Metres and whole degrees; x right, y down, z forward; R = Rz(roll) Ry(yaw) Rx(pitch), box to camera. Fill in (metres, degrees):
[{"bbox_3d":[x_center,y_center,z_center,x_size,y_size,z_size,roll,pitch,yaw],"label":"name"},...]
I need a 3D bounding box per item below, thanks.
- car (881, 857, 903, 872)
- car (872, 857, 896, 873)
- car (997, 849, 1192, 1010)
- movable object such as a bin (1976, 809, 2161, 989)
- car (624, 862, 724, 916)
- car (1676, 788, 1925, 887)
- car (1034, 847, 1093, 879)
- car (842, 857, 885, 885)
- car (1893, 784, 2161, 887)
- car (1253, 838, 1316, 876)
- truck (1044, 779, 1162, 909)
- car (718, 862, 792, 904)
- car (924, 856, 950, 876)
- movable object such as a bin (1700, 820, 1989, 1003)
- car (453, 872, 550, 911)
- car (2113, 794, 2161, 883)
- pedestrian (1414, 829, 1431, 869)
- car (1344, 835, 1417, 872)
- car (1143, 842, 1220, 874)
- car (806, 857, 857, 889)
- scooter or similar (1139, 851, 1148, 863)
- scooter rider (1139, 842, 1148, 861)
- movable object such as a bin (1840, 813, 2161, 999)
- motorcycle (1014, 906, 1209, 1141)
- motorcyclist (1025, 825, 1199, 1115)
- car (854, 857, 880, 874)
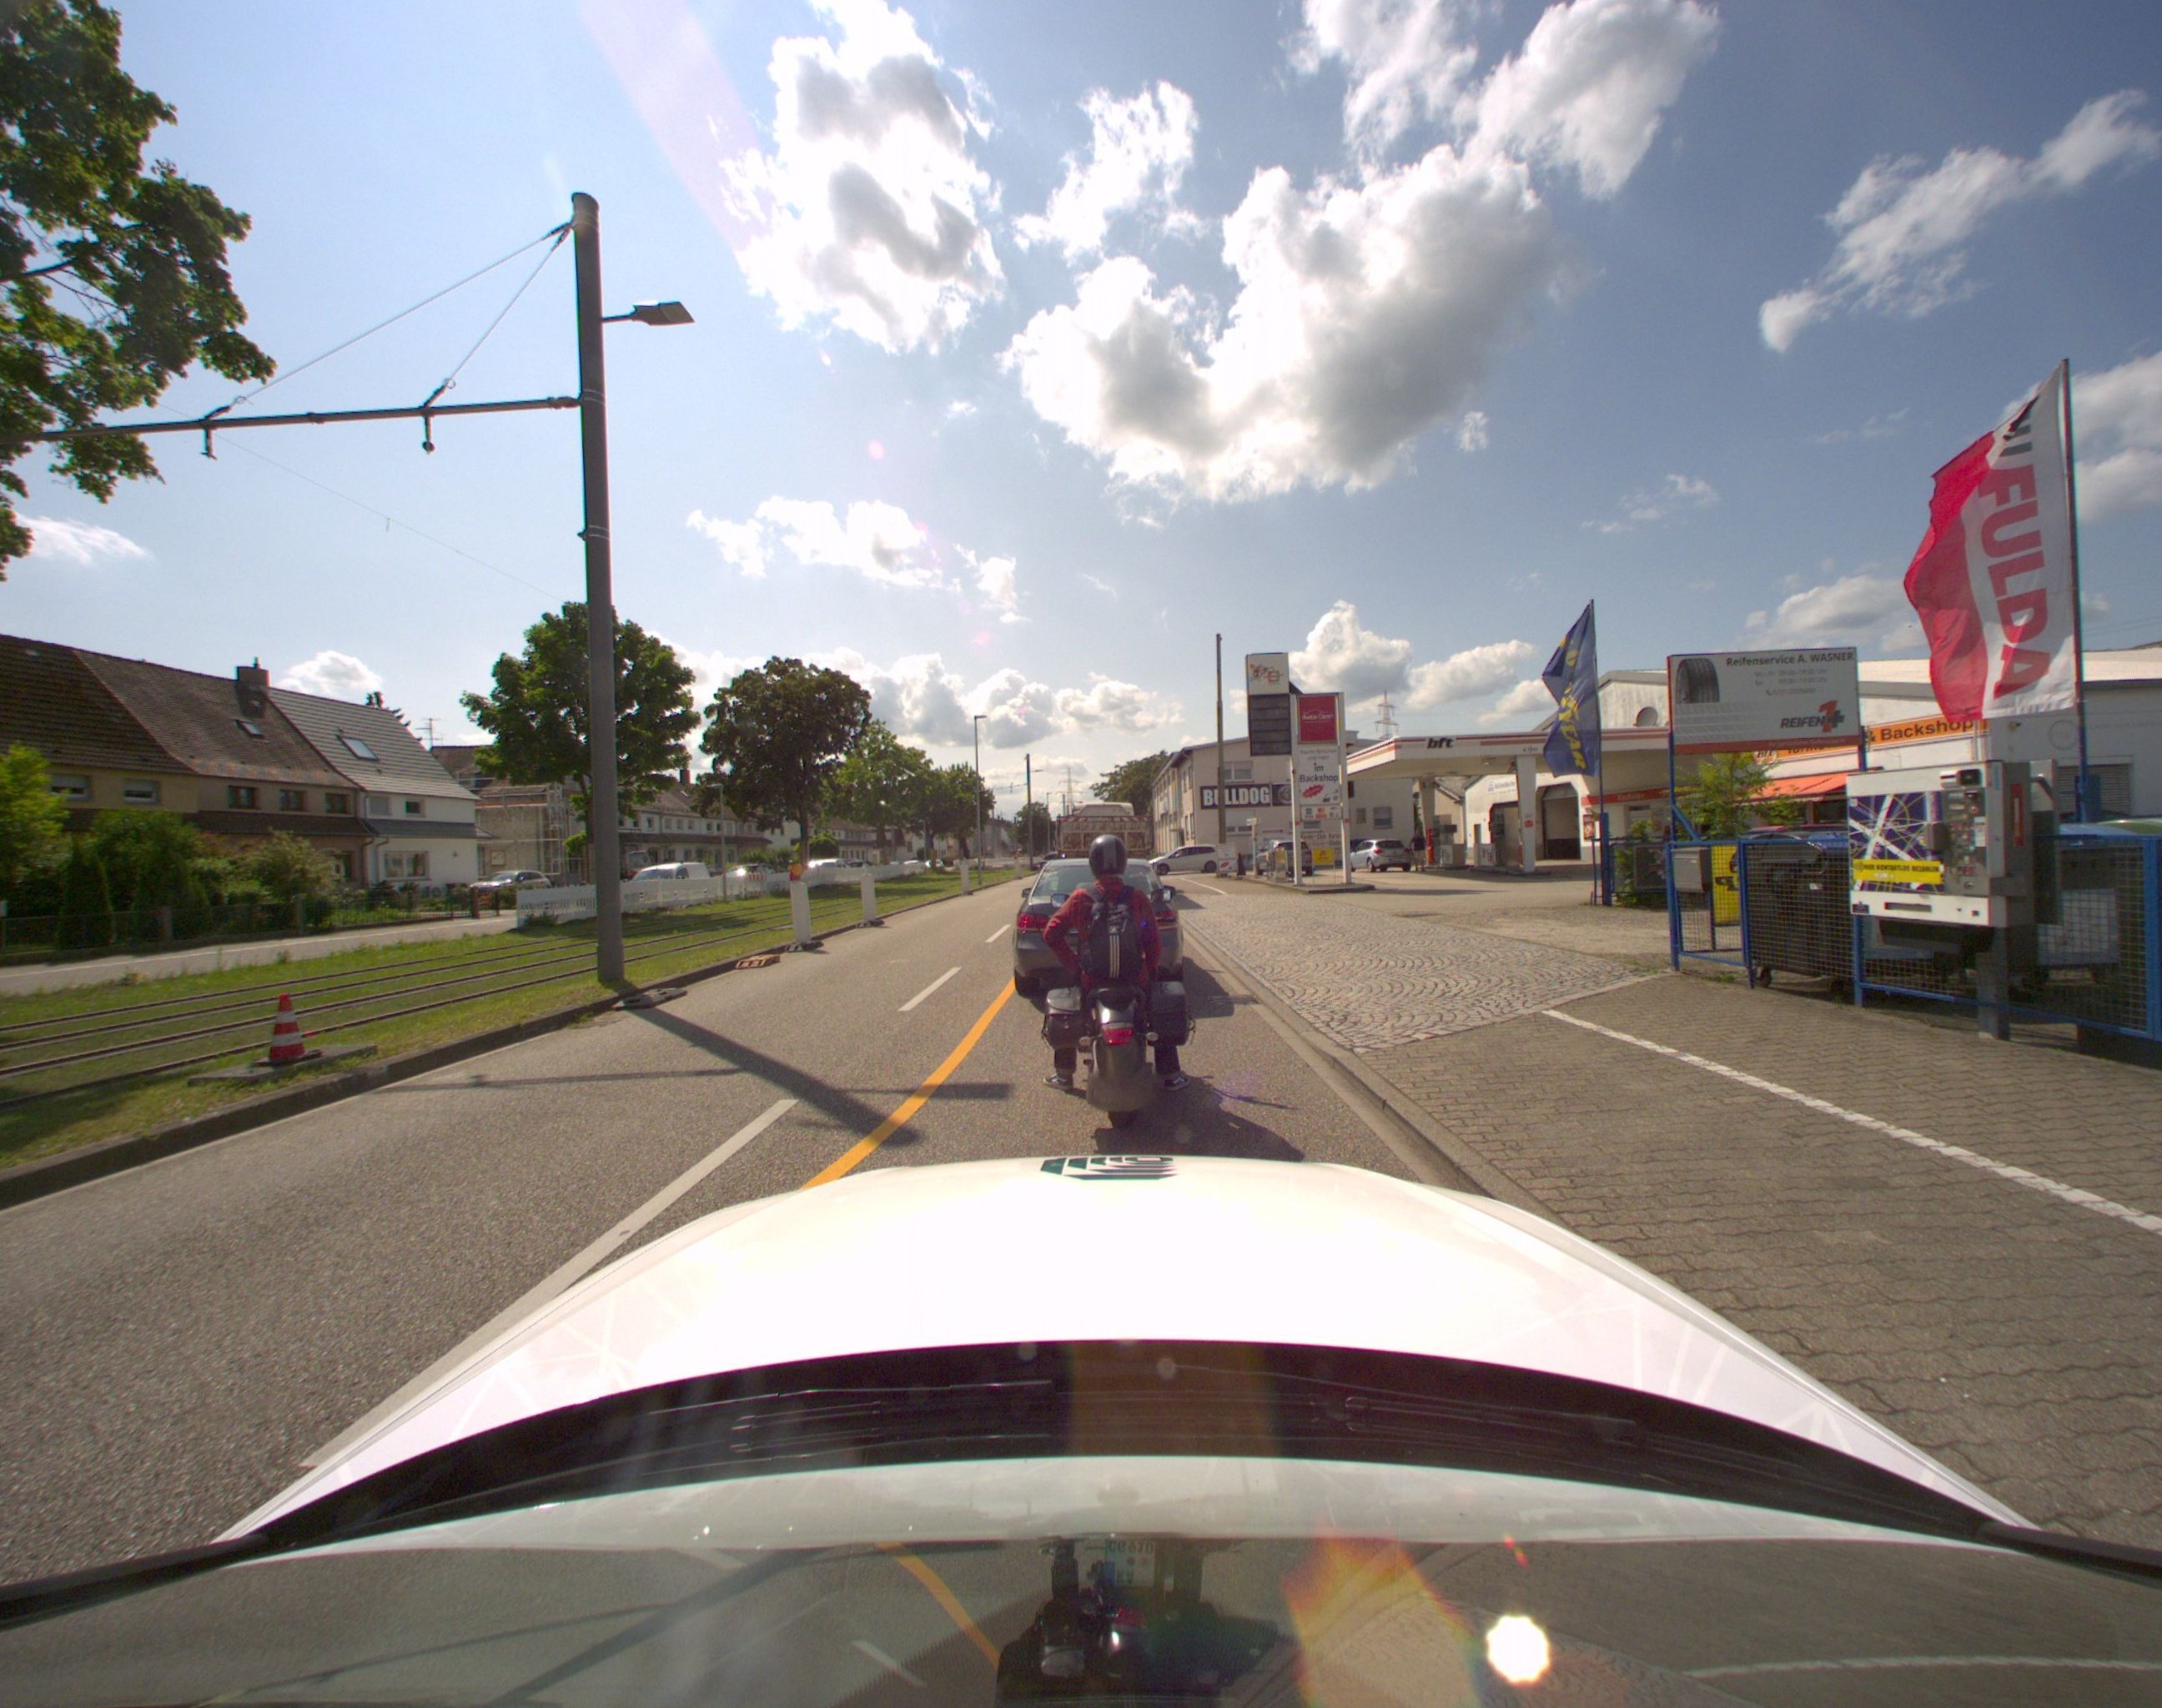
[{"bbox_3d":[-24.374,1.343,105.377,1.692,1.739,4.064,-2,0,2],"label":"car"},{"bbox_3d":[-24.045,1.335,99.354,1.692,1.739,4.064,-2,0,2],"label":"car"},{"bbox_3d":[0.158,0.722,9.899,1.826,1.479,4.009,-3,0,1],"label":"car"},{"bbox_3d":[9.447,0.335,7.200,1.425,1.454,1.455,-2,0,0],"label":"movable object such as a bin"},{"bbox_3d":[-15.418,1.279,31.068,1.692,1.817,3.862,-2,0,2],"label":"car"},{"bbox_3d":[16.600,-0.372,18.971,3.972,2.013,2.001,-2,0,1],"label":"car"},{"bbox_3d":[-1.047,0.519,46.088,1.689,1.624,4.083,-2,0,-26],"label":"car"},{"bbox_3d":[-14.866,1.140,55.770,1.692,1.739,3.862,-2,0,2],"label":"car"},{"bbox_3d":[21.248,-0.401,18.279,3.972,2.013,2.001,-2,0,1],"label":"car"},{"bbox_3d":[9.068,0.122,36.586,1.826,1.536,4.009,-3,0,1],"label":"car"},{"bbox_3d":[0.641,-0.282,25.615,2.960,3.304,8.407,-2,0,1],"label":"truck"},{"bbox_3d":[-15.325,1.325,38.498,1.692,1.739,4.056,-2,0,2],"label":"car"},{"bbox_3d":[-14.128,1.150,79.922,1.692,1.739,3.862,-2,0,2],"label":"car"},{"bbox_3d":[6.823,0.470,7.414,1.222,1.454,1.455,-2,0,0],"label":"movable object such as a bin"},{"bbox_3d":[-27.479,1.732,38.805,1.692,1.593,3.862,-2,0,2],"label":"car"},{"bbox_3d":[26.351,-0.435,18.194,3.972,2.013,2.001,-2,0,1],"label":"car"},{"bbox_3d":[14.841,-0.210,35.398,0.628,1.683,0.626,-2,0,23],"label":"pedestrian"},{"bbox_3d":[13.538,-0.024,37.079,1.826,1.479,4.009,-3,0,1],"label":"car"},{"bbox_3d":[5.766,0.227,47.059,4.100,1.624,1.682,-3,0,-7],"label":"car"},{"bbox_3d":[-15.062,1.111,49.328,1.692,1.739,3.862,-2,0,2],"label":"car"},{"bbox_3d":[6.292,0.281,81.618,0.792,1.144,1.520,-2,0,2],"label":"scooter or similar"},{"bbox_3d":[6.269,-0.250,81.661,0.792,1.818,0.508,-2,0,1],"label":"scooter rider"},{"bbox_3d":[8.102,0.416,7.290,1.222,1.454,1.455,-2,0,0],"label":"movable object such as a bin"},{"bbox_3d":[0.193,0.932,5.324,0.972,1.013,2.433,-1,0,2],"label":"motorcycle"},{"bbox_3d":[0.192,0.654,5.206,0.966,1.633,1.215,-1,0,1],"label":"motorcyclist"},{"bbox_3d":[-24.461,1.301,93.151,1.692,1.739,4.064,-2,0,2],"label":"car"}]
